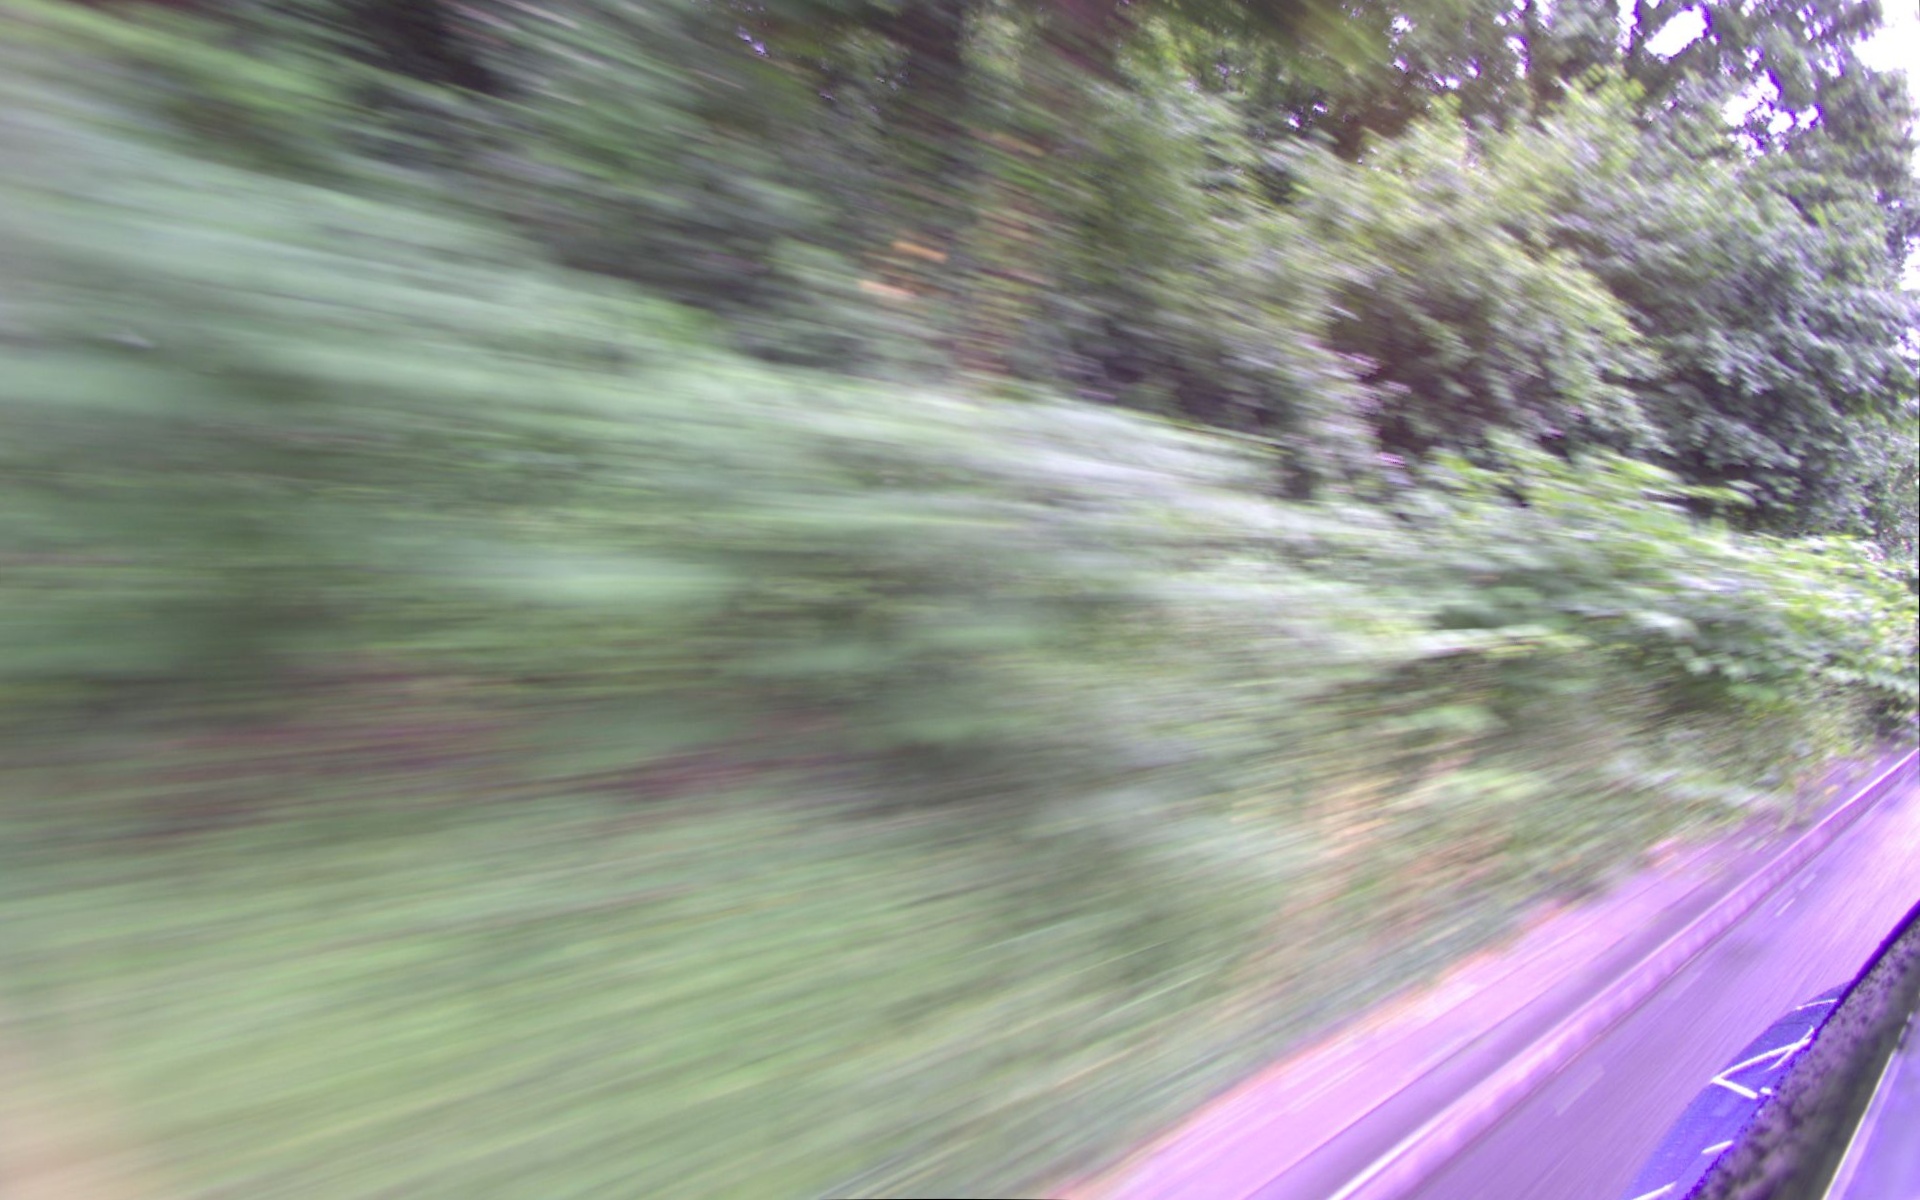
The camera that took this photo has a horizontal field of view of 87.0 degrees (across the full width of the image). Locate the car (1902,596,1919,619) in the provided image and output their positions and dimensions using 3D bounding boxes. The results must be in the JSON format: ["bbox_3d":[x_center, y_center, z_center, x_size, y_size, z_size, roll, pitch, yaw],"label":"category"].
[{"bbox_3d":[61.345,0.512,63.716,1.780,1.424,4.579,2,2,28],"label":"car"}]
